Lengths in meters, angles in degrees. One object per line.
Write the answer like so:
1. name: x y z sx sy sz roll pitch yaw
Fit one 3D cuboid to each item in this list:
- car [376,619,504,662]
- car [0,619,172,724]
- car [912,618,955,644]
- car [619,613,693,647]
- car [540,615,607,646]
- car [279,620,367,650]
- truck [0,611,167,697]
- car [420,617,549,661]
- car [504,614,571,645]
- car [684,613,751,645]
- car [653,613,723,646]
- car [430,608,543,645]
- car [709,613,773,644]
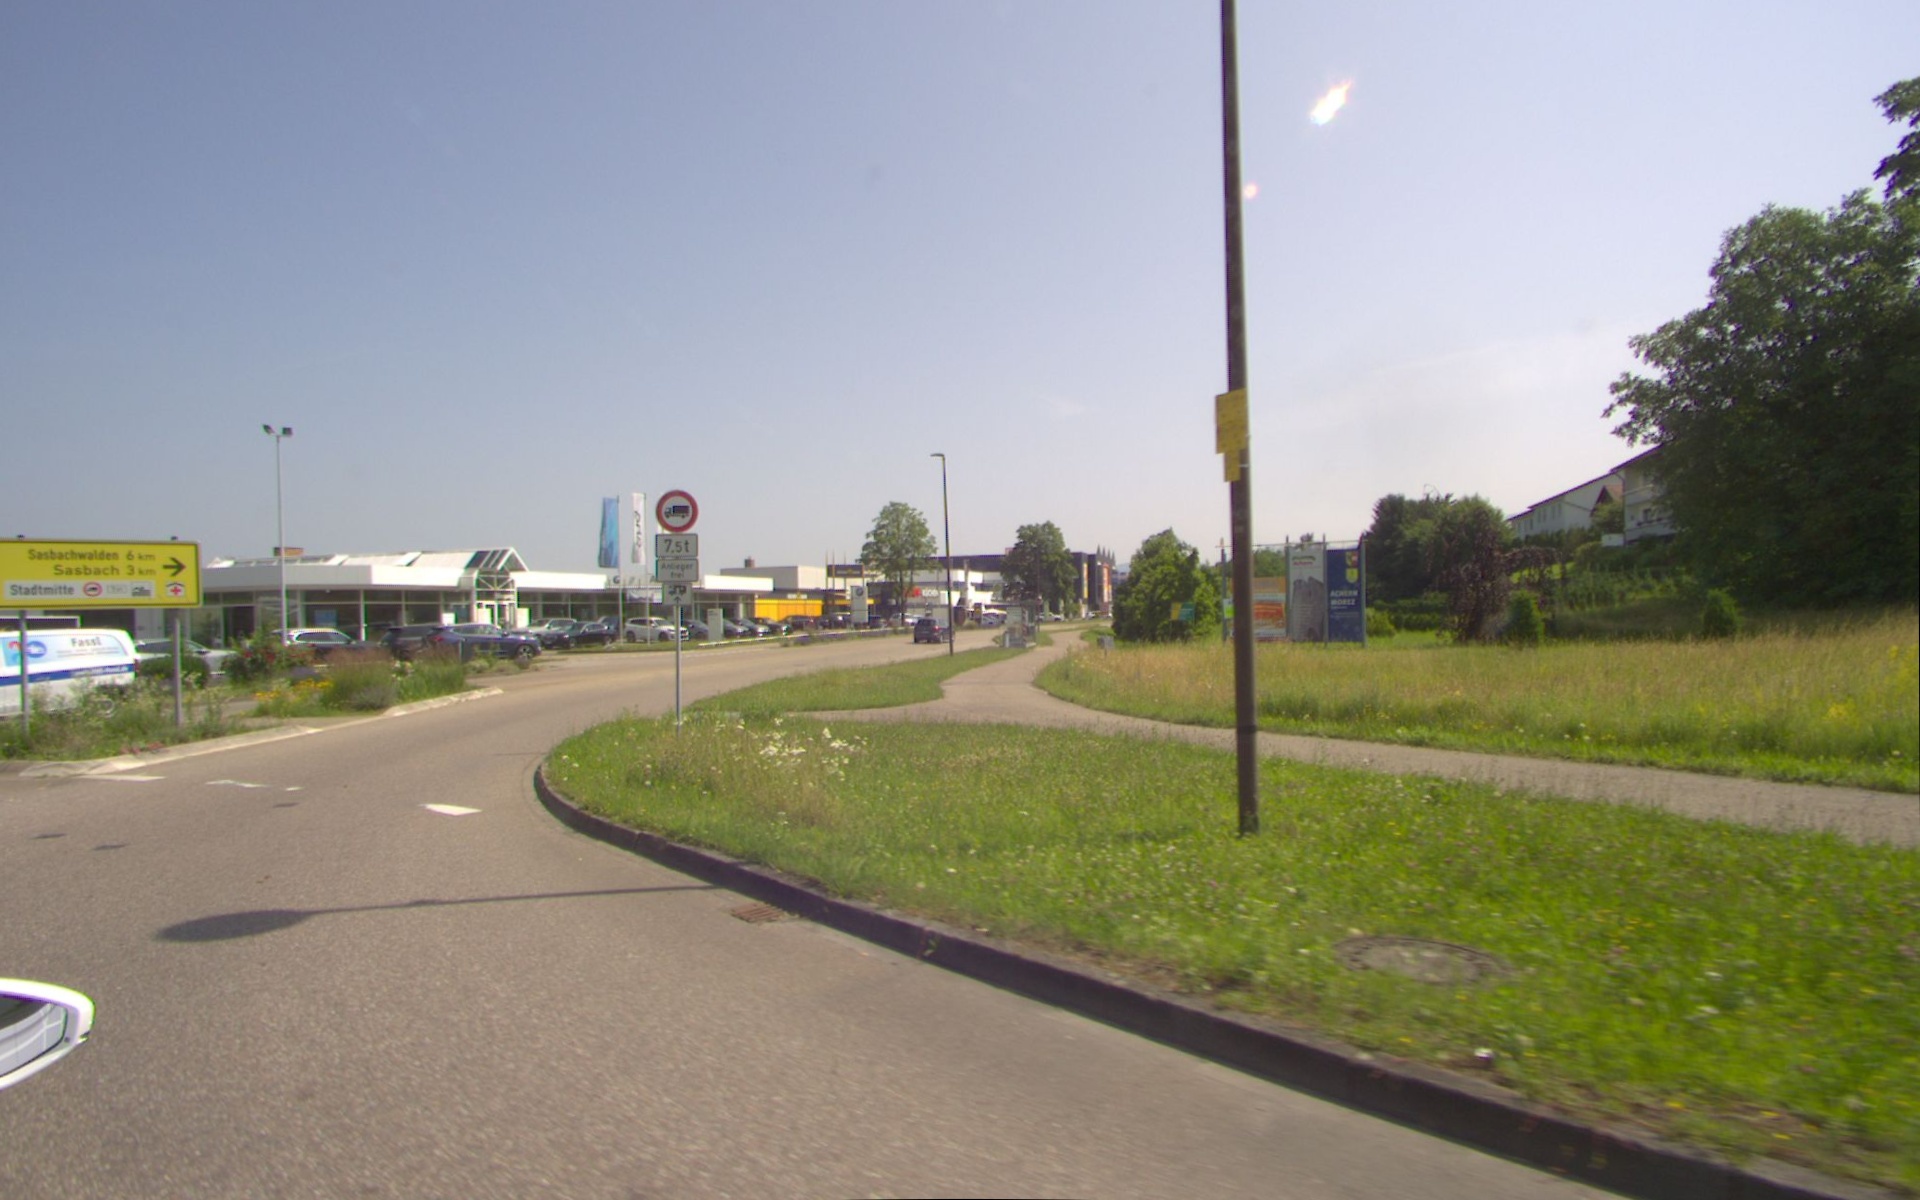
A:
1. car: -21.413 1.625 41.305 4.330 1.532 1.892 -1 0 -43
2. car: -18.640 1.385 19.282 1.829 1.962 5.219 -3 -2 21
3. car: -1.626 1.906 62.325 1.741 1.503 4.037 -1 0 12
4. car: -19.843 1.951 65.312 4.188 2.039 1.997 -3 -2 19
5. car: -22.175 1.726 57.530 1.554 1.675 3.692 -3 -2 18
6. car: -37.713 2.045 59.387 1.877 1.607 4.031 -1 0 20
7. truck: -30.841 1.774 34.224 1.916 2.700 5.613 -1 0 21
8. car: -19.095 1.530 40.324 4.330 1.532 1.892 -1 0 -43
9. car: -24.889 1.734 59.102 1.554 1.675 3.692 -3 -2 18
10. car: -17.229 2.055 71.095 4.188 2.039 1.997 -3 -2 19
11. car: -18.596 2.015 68.435 4.188 2.039 1.997 -3 -2 19
12. car: -21.770 1.181 46.097 4.330 1.532 1.892 -1 0 -43
13. car: -16.180 2.120 74.033 4.188 2.039 1.997 -3 -2 19
